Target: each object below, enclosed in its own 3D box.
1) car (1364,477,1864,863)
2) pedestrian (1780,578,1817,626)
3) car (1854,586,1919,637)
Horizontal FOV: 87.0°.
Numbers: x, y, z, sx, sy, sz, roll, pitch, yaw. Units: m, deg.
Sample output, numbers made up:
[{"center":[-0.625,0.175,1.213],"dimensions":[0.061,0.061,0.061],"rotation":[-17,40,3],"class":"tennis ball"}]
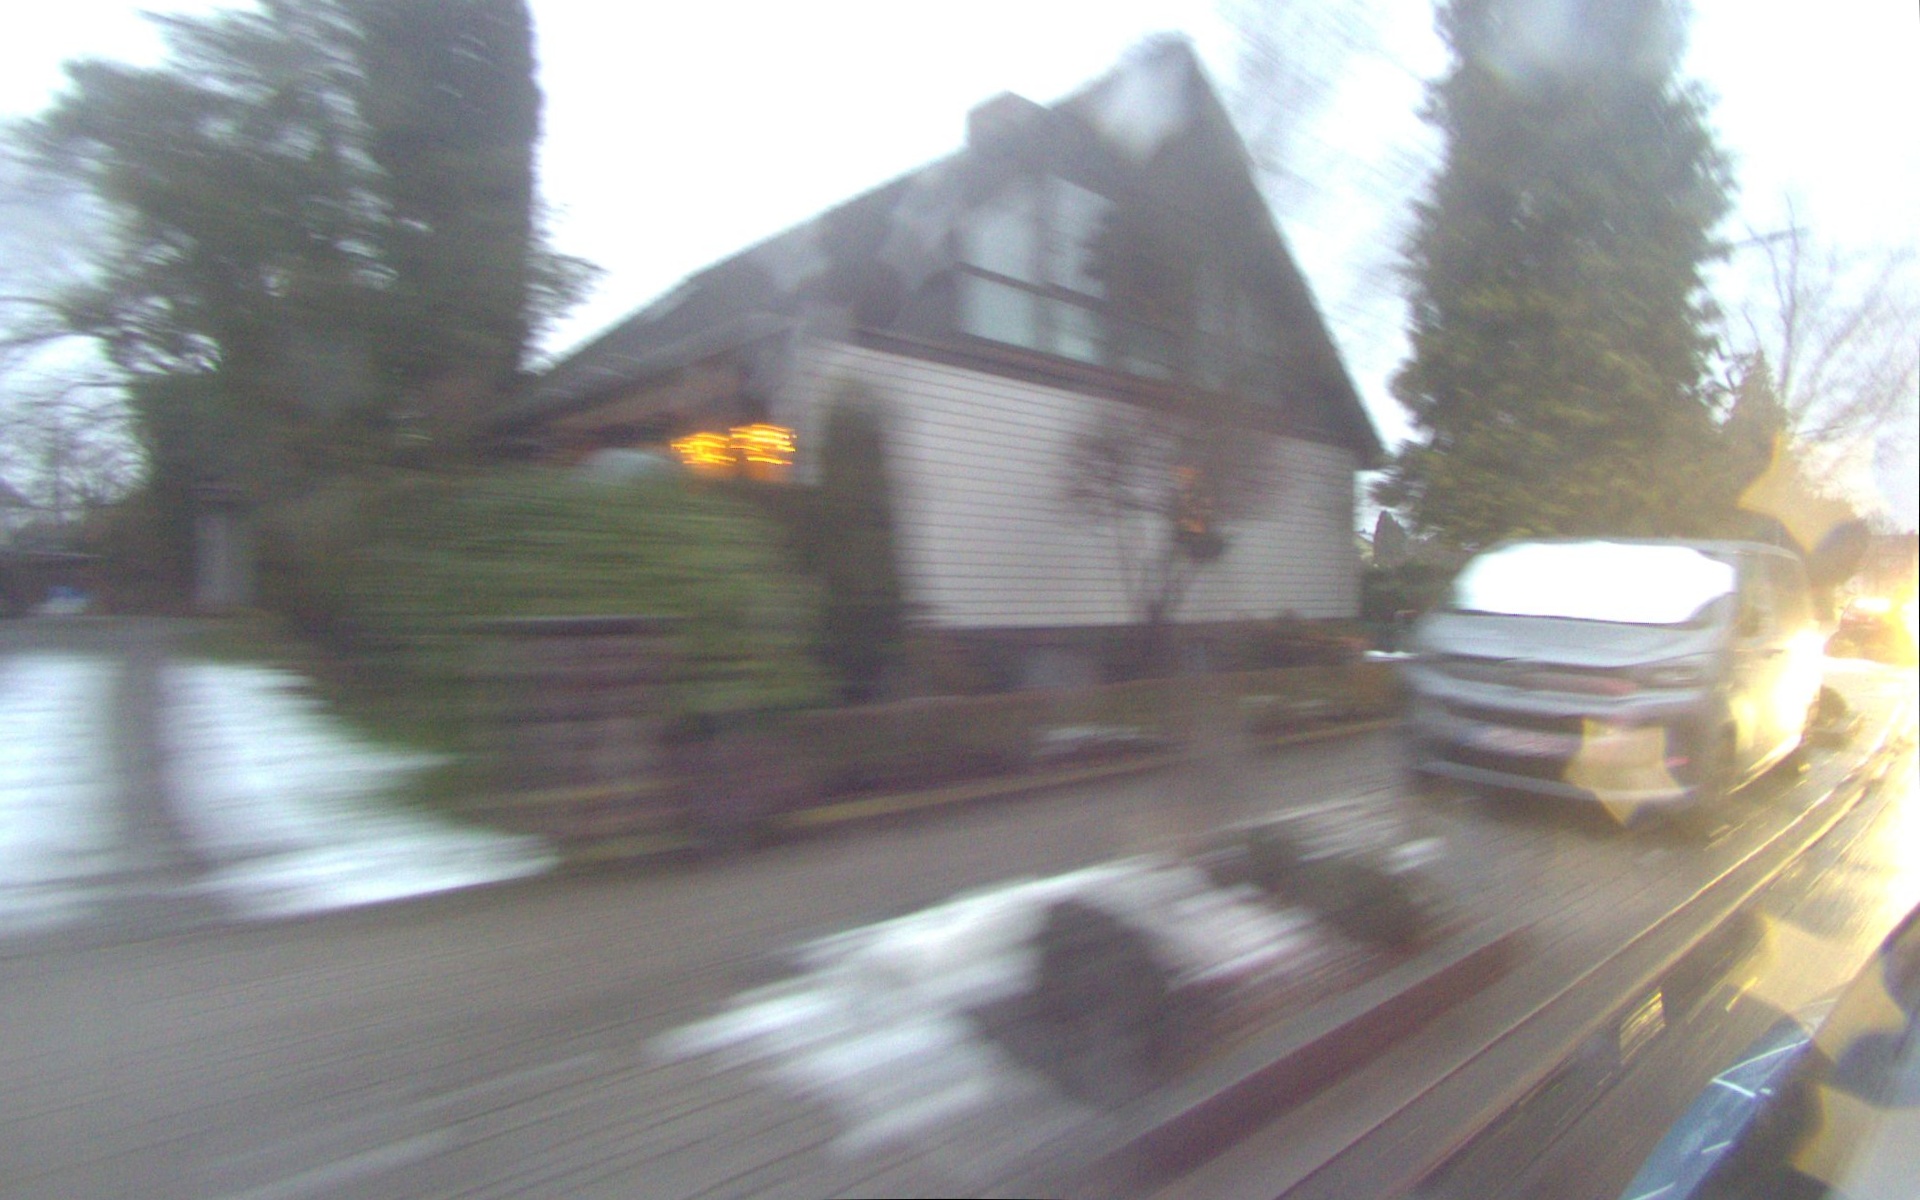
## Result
[{"center":[5.467,0.314,8.004],"dimensions":[5.649,2.038,1.980],"rotation":[0,3,-44],"class":"car"},{"center":[31.793,0.062,38.368],"dimensions":[0.987,1.763,1.040],"rotation":[3,2,42],"class":"pedestrian"},{"center":[32.510,0.377,35.419],"dimensions":[1.650,1.558,3.337],"rotation":[6,4,43],"class":"car"}]
